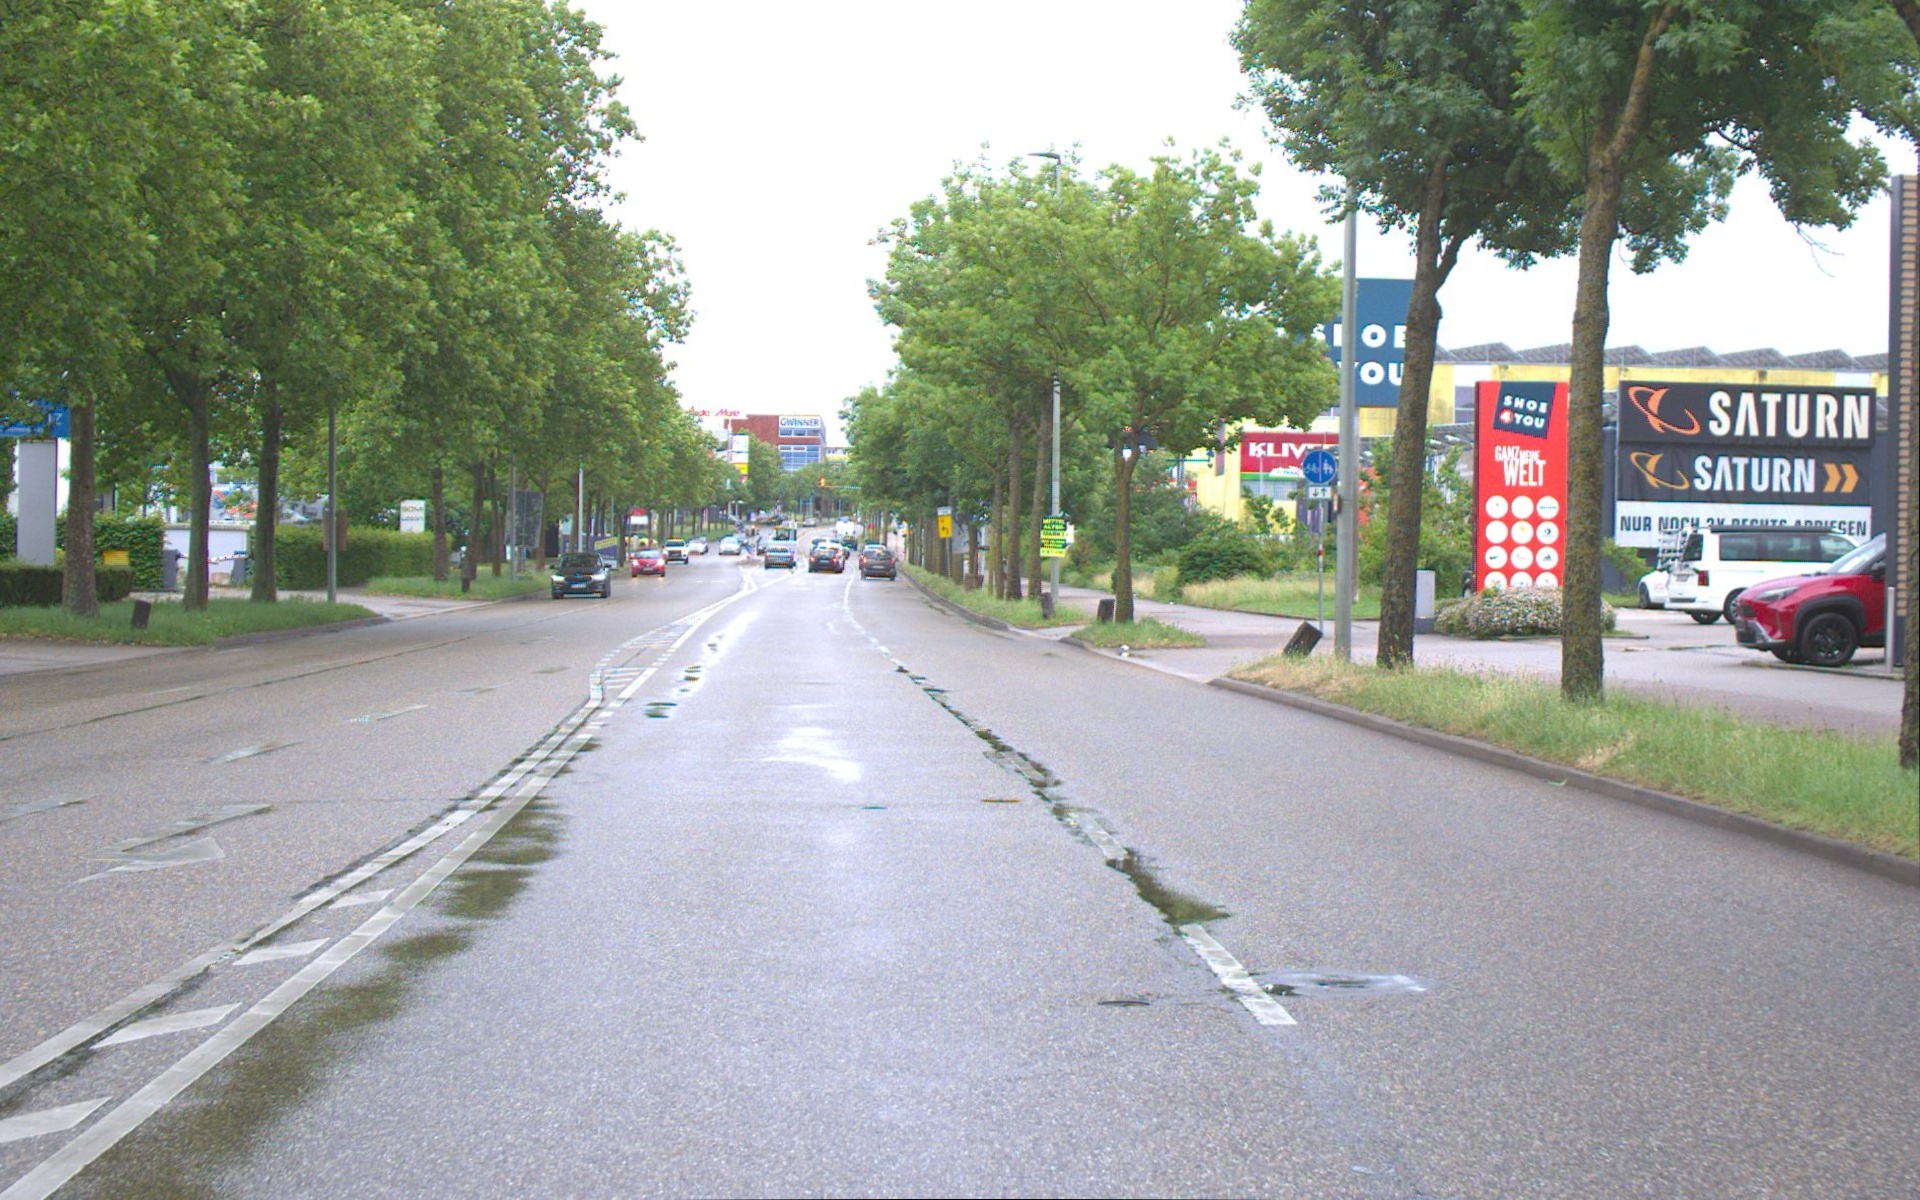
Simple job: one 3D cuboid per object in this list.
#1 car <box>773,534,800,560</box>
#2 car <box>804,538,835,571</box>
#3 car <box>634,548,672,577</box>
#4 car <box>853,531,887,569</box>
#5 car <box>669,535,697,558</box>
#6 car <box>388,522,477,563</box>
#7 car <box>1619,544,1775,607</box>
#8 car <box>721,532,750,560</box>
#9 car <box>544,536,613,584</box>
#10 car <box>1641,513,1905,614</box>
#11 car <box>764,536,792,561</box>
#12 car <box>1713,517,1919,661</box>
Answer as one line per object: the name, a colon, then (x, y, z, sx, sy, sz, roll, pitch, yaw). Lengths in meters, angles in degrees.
car: (-12.522, -3.823, 248.698, 1.890, 1.870, 4.124, 0, 1, -2)
car: (-8.634, -2.815, 211.439, 1.745, 2.007, 4.000, 0, 1, -1)
car: (-15.811, -1.935, 177.134, 1.726, 1.512, 3.821, 0, 1, -2)
car: (-4.752, -2.659, 181.934, 1.745, 2.007, 4.000, 0, 1, -1)
car: (-20.748, -3.984, 257.557, 1.704, 1.731, 4.000, 0, 1, 0)
car: (-25.044, -2.727, 163.336, 3.986, 1.918, 1.826, 0, 0, -1)
car: (17.899, -0.617, 83.689, 1.880, 1.463, 4.954, 0, 1, -11)
car: (-16.102, -3.862, 247.044, 1.993, 2.007, 4.001, 0, 1, -3)
car: (-12.010, -1.260, 108.392, 1.804, 1.458, 3.846, -1, 1, -1)
car: (16.445, -0.739, 69.626, 4.820, 2.007, 1.991, 0, 0, -11)
car: (-12.380, -3.527, 234.095, 1.745, 1.695, 4.000, 0, 1, -1)
car: (11.144, -0.174, 41.058, 3.841, 1.598, 1.795, -2, 1, -1)
